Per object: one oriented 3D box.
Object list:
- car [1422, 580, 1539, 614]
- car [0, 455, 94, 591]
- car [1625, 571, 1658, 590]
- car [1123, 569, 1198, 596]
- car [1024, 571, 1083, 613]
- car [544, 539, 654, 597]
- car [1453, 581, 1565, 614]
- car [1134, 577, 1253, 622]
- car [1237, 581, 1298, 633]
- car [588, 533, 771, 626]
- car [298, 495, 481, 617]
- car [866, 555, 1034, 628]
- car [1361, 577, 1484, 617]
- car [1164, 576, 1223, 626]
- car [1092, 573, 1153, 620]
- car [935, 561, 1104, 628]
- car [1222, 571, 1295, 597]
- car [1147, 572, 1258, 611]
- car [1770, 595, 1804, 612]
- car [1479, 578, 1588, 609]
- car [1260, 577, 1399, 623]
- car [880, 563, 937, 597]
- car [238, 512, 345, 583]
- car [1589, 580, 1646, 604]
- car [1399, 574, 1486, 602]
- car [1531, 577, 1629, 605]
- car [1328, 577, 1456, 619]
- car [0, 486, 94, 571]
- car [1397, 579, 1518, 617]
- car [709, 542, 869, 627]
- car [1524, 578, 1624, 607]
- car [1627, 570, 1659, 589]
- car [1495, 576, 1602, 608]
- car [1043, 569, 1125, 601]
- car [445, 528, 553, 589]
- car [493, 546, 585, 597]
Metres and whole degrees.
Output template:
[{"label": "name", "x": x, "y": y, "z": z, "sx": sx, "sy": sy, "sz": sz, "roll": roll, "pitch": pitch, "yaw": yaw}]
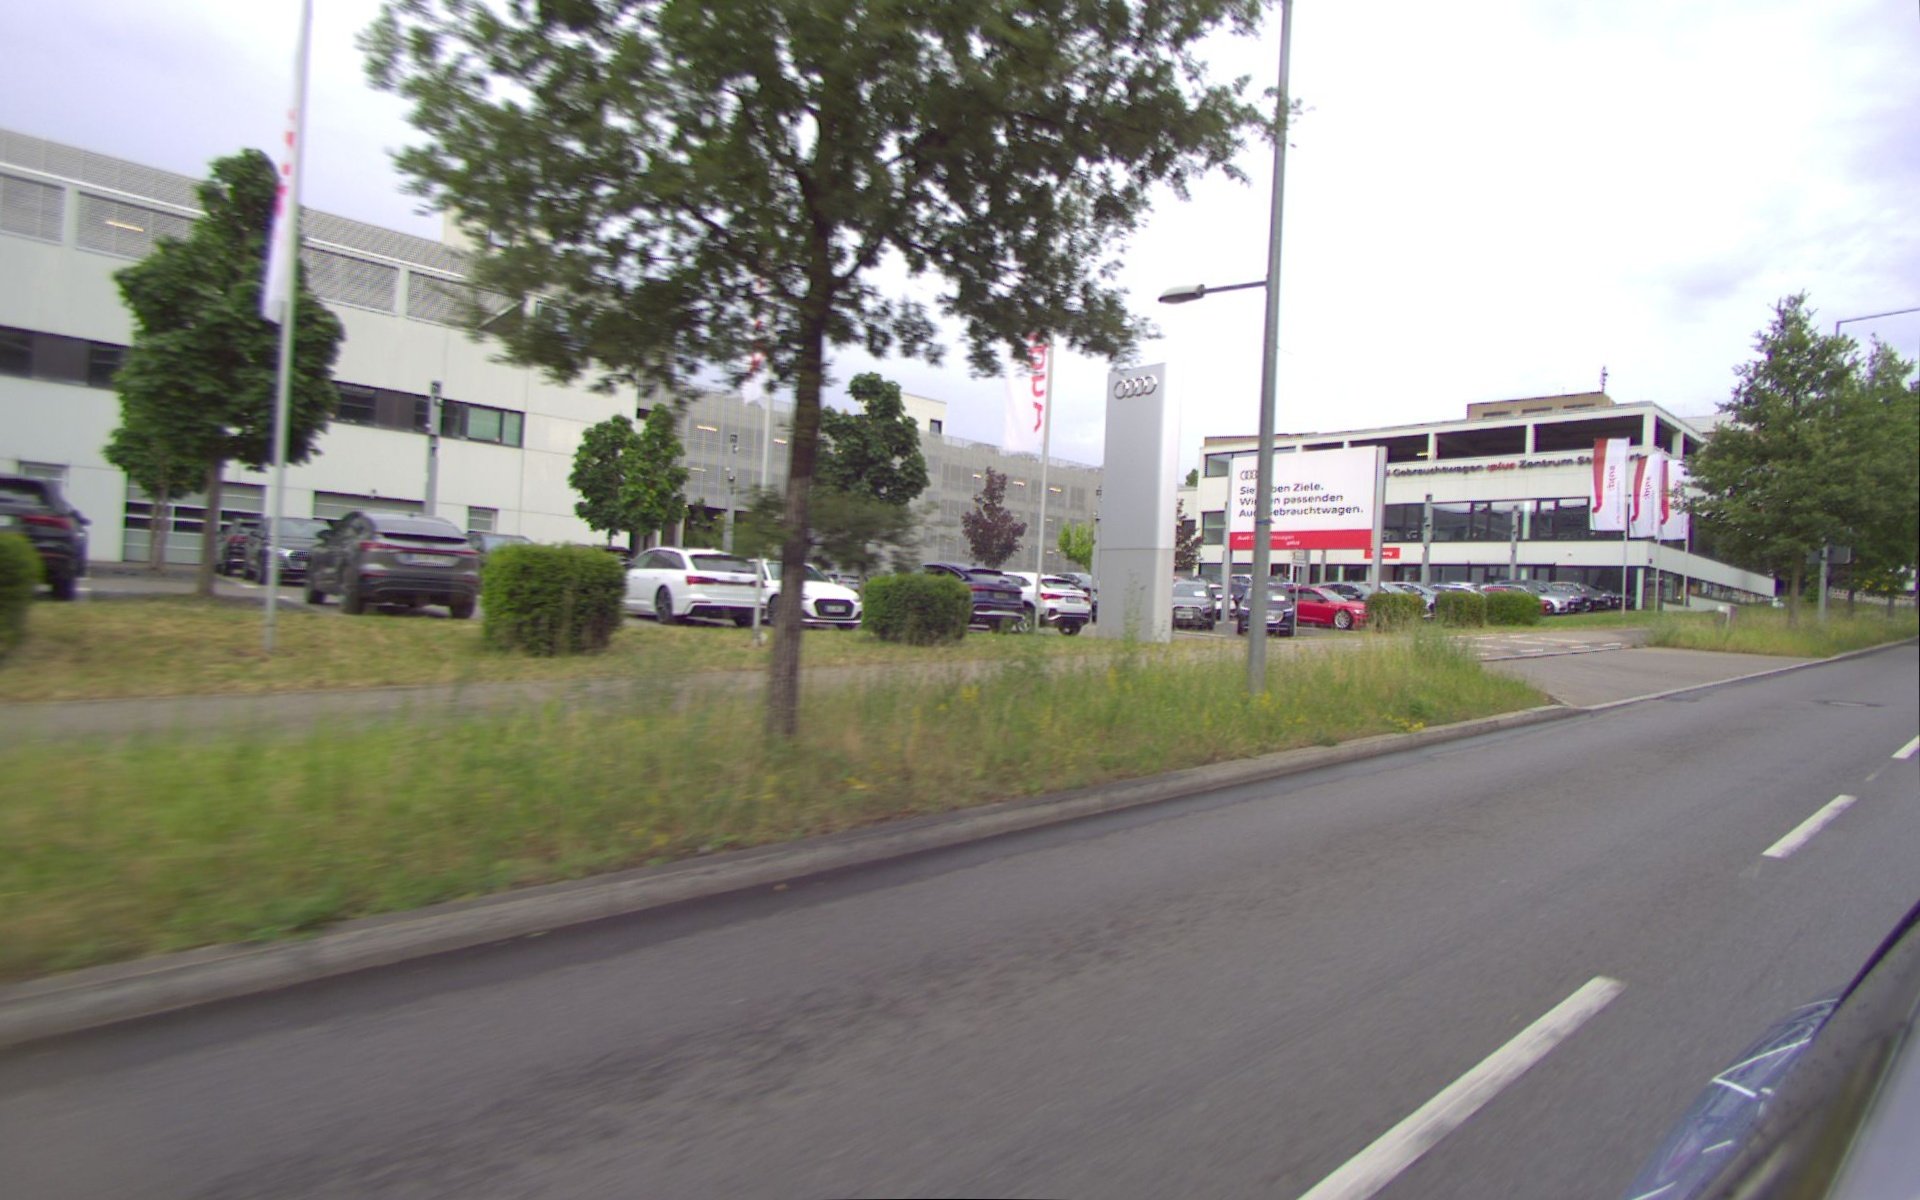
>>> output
[{"label": "car", "x": 24.281, "y": -0.194, "z": 47.311, "sx": 1.898, "sy": 1.474, "sz": 4.469, "roll": -1, "pitch": 2, "yaw": -41}, {"label": "car", "x": -12.711, "y": -0.932, "z": 13.514, "sx": 1.663, "sy": 1.594, "sz": 4.111, "roll": 1, "pitch": 0, "yaw": -41}, {"label": "car", "x": 64.512, "y": -1.887, "z": 95.817, "sx": 3.461, "sy": 1.696, "sz": 1.701, "roll": -1, "pitch": 4, "yaw": -42}, {"label": "car", "x": 12.217, "y": -1.083, "z": 61.813, "sx": 1.796, "sy": 1.613, "sz": 4.282, "roll": -1, "pitch": 2, "yaw": -43}, {"label": "car", "x": 3.980, "y": -0.357, "z": 42.679, "sx": 1.748, "sy": 1.613, "sz": 3.543, "roll": 3, "pitch": 2, "yaw": 17}, {"label": "car", "x": -10.682, "y": -0.913, "z": 29.791, "sx": 1.663, "sy": 1.593, "sz": 4.112, "roll": -1, "pitch": 2, "yaw": -41}, {"label": "car", "x": 26.815, "y": -0.174, "z": 49.525, "sx": 1.898, "sy": 1.364, "sz": 4.406, "roll": -2, "pitch": 4, "yaw": -41}, {"label": "car", "x": 9.687, "y": -0.081, "z": 42.243, "sx": 4.465, "sy": 1.569, "sz": 1.900, "roll": 5, "pitch": 4, "yaw": 45}, {"label": "car", "x": 10.382, "y": 0.174, "z": 34.135, "sx": 1.813, "sy": 1.613, "sz": 4.336, "roll": 1, "pitch": 2, "yaw": 18}, {"label": "car", "x": -5.607, "y": -0.416, "z": 19.834, "sx": 1.663, "sy": 1.614, "sz": 4.527, "roll": -1, "pitch": 2, "yaw": -41}, {"label": "car", "x": -9.260, "y": -0.709, "z": 16.276, "sx": 1.663, "sy": 1.629, "sz": 4.113, "roll": 4, "pitch": 0, "yaw": -41}, {"label": "car", "x": -0.319, "y": -0.209, "z": 24.371, "sx": 1.839, "sy": 1.614, "sz": 4.111, "roll": -1, "pitch": 1, "yaw": -41}, {"label": "car", "x": 19.897, "y": -0.159, "z": 43.680, "sx": 1.898, "sy": 1.547, "sz": 4.469, "roll": -1, "pitch": 3, "yaw": -41}, {"label": "car", "x": 8.362, "y": -0.011, "z": 36.023, "sx": 1.748, "sy": 1.613, "sz": 3.543, "roll": 3, "pitch": 2, "yaw": 17}, {"label": "car", "x": 6.279, "y": -0.191, "z": 38.885, "sx": 1.748, "sy": 1.613, "sz": 3.973, "roll": 3, "pitch": 2, "yaw": 17}, {"label": "car", "x": 1.489, "y": -0.178, "z": 26.281, "sx": 4.102, "sy": 1.614, "sz": 1.920, "roll": 1, "pitch": 2, "yaw": 41}, {"label": "car", "x": 19.549, "y": -1.072, "z": 66.438, "sx": 1.796, "sy": 1.613, "sz": 4.282, "roll": -1, "pitch": 2, "yaw": -43}, {"label": "car", "x": 10.686, "y": -0.422, "z": 44.823, "sx": 4.464, "sy": 1.570, "sz": 1.900, "roll": 3, "pitch": 3, "yaw": 45}, {"label": "car", "x": 75.691, "y": 0.297, "z": 92.609, "sx": 4.385, "sy": 1.503, "sz": 1.700, "roll": -1, "pitch": 0, "yaw": -42}, {"label": "car", "x": 28.864, "y": -0.365, "z": 51.000, "sx": 1.857, "sy": 1.445, "sz": 4.406, "roll": -1, "pitch": 3, "yaw": -40}, {"label": "car", "x": 13.627, "y": -0.043, "z": 37.516, "sx": 4.463, "sy": 1.570, "sz": 1.900, "roll": 2, "pitch": 2, "yaw": 45}, {"label": "car", "x": -2.544, "y": -1.024, "z": 51.092, "sx": 1.748, "sy": 1.613, "sz": 3.543, "roll": 3, "pitch": 2, "yaw": 17}, {"label": "car", "x": -16.545, "y": -1.248, "z": 24.960, "sx": 1.663, "sy": 1.593, "sz": 4.112, "roll": -1, "pitch": 2, "yaw": -41}, {"label": "car", "x": 38.871, "y": -0.488, "z": 59.799, "sx": 3.855, "sy": 1.355, "sz": 1.900, "roll": -1, "pitch": 2, "yaw": -42}, {"label": "car", "x": 28.519, "y": -0.717, "z": 59.899, "sx": 1.796, "sy": 1.570, "sz": 4.282, "roll": -1, "pitch": 2, "yaw": -43}, {"label": "car", "x": 35.203, "y": -0.526, "z": 57.510, "sx": 1.898, "sy": 1.500, "sz": 4.405, "roll": -1, "pitch": 2, "yaw": -41}, {"label": "car", "x": 17.729, "y": -0.127, "z": 41.707, "sx": 1.898, "sy": 1.570, "sz": 4.469, "roll": -1, "pitch": 3, "yaw": -41}, {"label": "car", "x": -19.659, "y": -1.455, "z": 21.628, "sx": 1.663, "sy": 1.594, "sz": 4.112, "roll": 2, "pitch": 0, "yaw": -41}, {"label": "car", "x": 22.169, "y": -0.140, "z": 45.256, "sx": 1.898, "sy": 1.473, "sz": 4.470, "roll": -1, "pitch": 3, "yaw": -41}, {"label": "car", "x": -3.723, "y": -0.323, "z": 21.443, "sx": 1.661, "sy": 1.614, "sz": 4.117, "roll": -1, "pitch": 1, "yaw": -37}, {"label": "car", "x": 33.324, "y": -0.431, "z": 55.036, "sx": 1.806, "sy": 1.395, "sz": 4.325, "roll": -1, "pitch": 3, "yaw": -43}, {"label": "car", "x": 64.743, "y": -1.949, "z": 95.877, "sx": 3.580, "sy": 1.697, "sz": 1.700, "roll": -1, "pitch": 0, "yaw": -42}, {"label": "car", "x": 30.646, "y": -0.456, "z": 52.776, "sx": 2.005, "sy": 1.519, "sz": 4.406, "roll": -1, "pitch": 3, "yaw": -40}, {"label": "car", "x": 6.654, "y": -0.840, "z": 54.789, "sx": 1.796, "sy": 1.613, "sz": 4.282, "roll": -1, "pitch": 2, "yaw": -43}, {"label": "car", "x": -13.148, "y": -1.127, "z": 28.732, "sx": 1.663, "sy": 1.594, "sz": 4.112, "roll": 0, "pitch": 0, "yaw": -41}, {"label": "car", "x": -14.097, "y": -0.921, "z": 33.779, "sx": 1.663, "sy": 1.594, "sz": 4.113, "roll": 0, "pitch": 1, "yaw": -40}]
